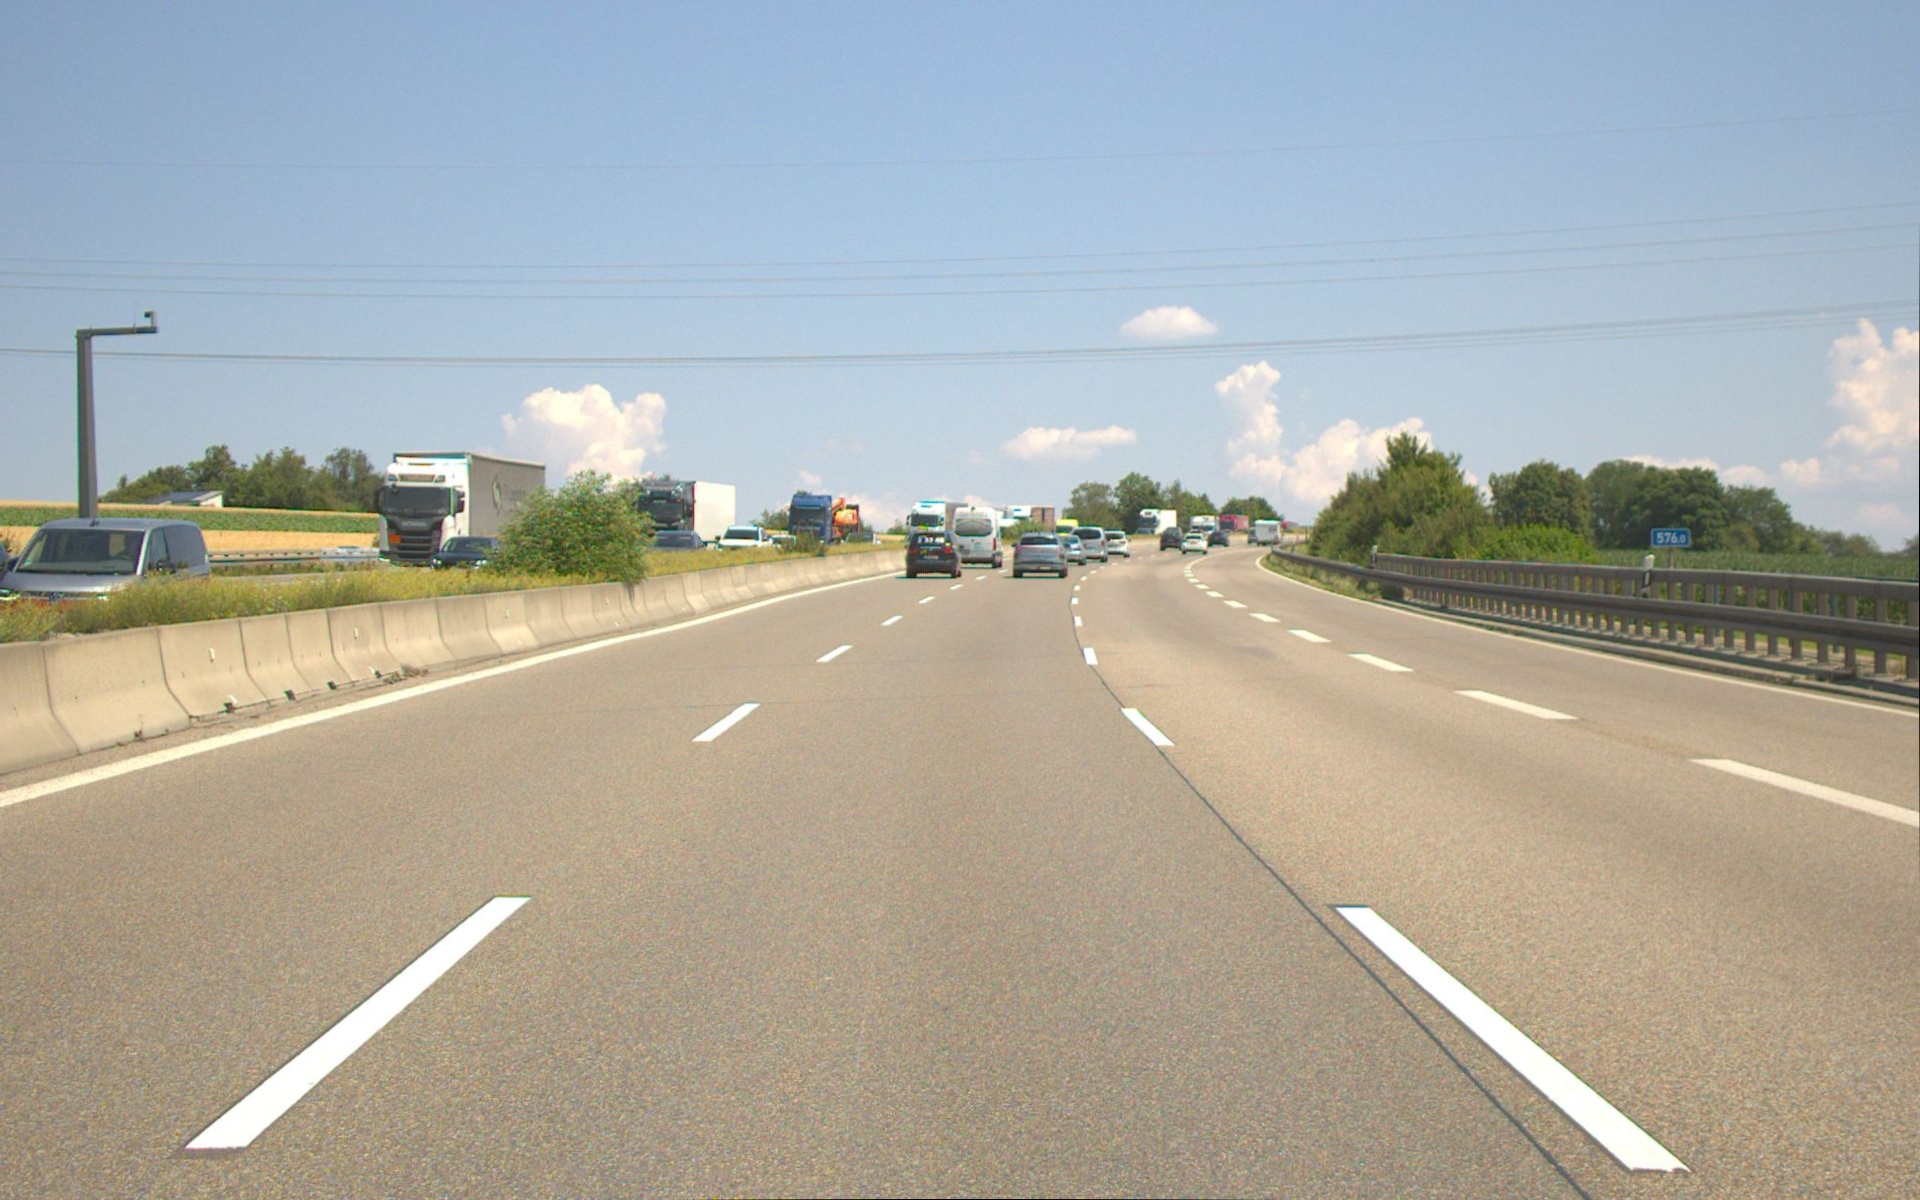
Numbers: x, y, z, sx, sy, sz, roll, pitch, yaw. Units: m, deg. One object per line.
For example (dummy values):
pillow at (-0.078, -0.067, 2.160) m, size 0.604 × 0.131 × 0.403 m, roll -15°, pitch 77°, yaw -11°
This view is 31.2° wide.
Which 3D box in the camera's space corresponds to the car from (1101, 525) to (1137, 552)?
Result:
car at (9.862, -3.834, 213.336) m, size 1.994 × 1.546 × 3.999 m, roll 2°, pitch 2°, yaw 6°

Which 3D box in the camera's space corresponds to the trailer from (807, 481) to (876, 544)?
trailer at (-7.638, -5.605, 223.442) m, size 2.839 × 3.944 × 13.726 m, roll 1°, pitch 1°, yaw 5°

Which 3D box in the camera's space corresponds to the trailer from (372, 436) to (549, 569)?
trailer at (-17.174, -3.286, 119.461) m, size 3.124 × 4.309 × 14.543 m, roll 1°, pitch 1°, yaw 4°

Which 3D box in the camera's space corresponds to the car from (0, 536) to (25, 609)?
car at (-19.239, -0.524, 65.368) m, size 1.657 × 1.380 × 4.350 m, roll 1°, pitch 1°, yaw 1°

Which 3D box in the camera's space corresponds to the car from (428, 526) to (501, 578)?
car at (-13.989, -1.381, 97.151) m, size 1.624 × 1.399 × 3.731 m, roll 1°, pitch 1°, yaw -2°

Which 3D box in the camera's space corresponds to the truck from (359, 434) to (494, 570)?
truck at (-17.511, -3.180, 113.252) m, size 3.132 × 4.313 × 6.146 m, roll 1°, pitch 1°, yaw 3°

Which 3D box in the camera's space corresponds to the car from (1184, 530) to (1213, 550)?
car at (16.999, -4.278, 245.021) m, size 1.902 × 1.437 × 3.999 m, roll 1°, pitch 1°, yaw 6°

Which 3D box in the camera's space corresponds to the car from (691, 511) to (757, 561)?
car at (-9.312, -2.529, 136.207) m, size 1.994 × 1.897 × 5.676 m, roll 1°, pitch 1°, yaw 2°

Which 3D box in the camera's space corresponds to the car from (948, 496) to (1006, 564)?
car at (0.746, -2.937, 145.815) m, size 2.180 × 2.616 × 4.671 m, roll 1°, pitch -2°, yaw 3°

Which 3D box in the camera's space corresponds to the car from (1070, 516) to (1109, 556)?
car at (6.811, -3.363, 181.240) m, size 1.993 × 1.897 × 3.999 m, roll 1°, pitch -1°, yaw 1°

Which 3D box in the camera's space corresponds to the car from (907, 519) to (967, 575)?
car at (-0.785, -1.844, 118.715) m, size 1.847 × 1.854 × 4.205 m, roll 1°, pitch 2°, yaw 2°

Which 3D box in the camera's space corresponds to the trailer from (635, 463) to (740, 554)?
trailer at (-13.617, -4.577, 173.317) m, size 3.242 × 4.372 × 14.026 m, roll 1°, pitch 1°, yaw 4°

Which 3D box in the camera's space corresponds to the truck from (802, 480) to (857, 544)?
truck at (-8.199, -5.543, 217.033) m, size 2.776 × 3.924 × 6.137 m, roll 1°, pitch 1°, yaw 4°

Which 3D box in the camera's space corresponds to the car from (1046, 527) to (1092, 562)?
car at (5.152, -2.619, 162.805) m, size 1.993 × 1.579 × 4.000 m, roll 0°, pitch 0°, yaw 0°

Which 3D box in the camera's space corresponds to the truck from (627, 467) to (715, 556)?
truck at (-13.981, -4.298, 166.693) m, size 3.227 × 4.192 × 7.125 m, roll 1°, pitch 1°, yaw 4°

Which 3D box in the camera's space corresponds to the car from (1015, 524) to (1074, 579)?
car at (2.955, -1.691, 121.041) m, size 1.993 × 1.744 × 3.999 m, roll 1°, pitch -2°, yaw 1°

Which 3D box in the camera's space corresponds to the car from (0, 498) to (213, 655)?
car at (-11.593, -0.334, 46.254) m, size 1.913 × 1.963 × 5.447 m, roll 1°, pitch 1°, yaw -1°
